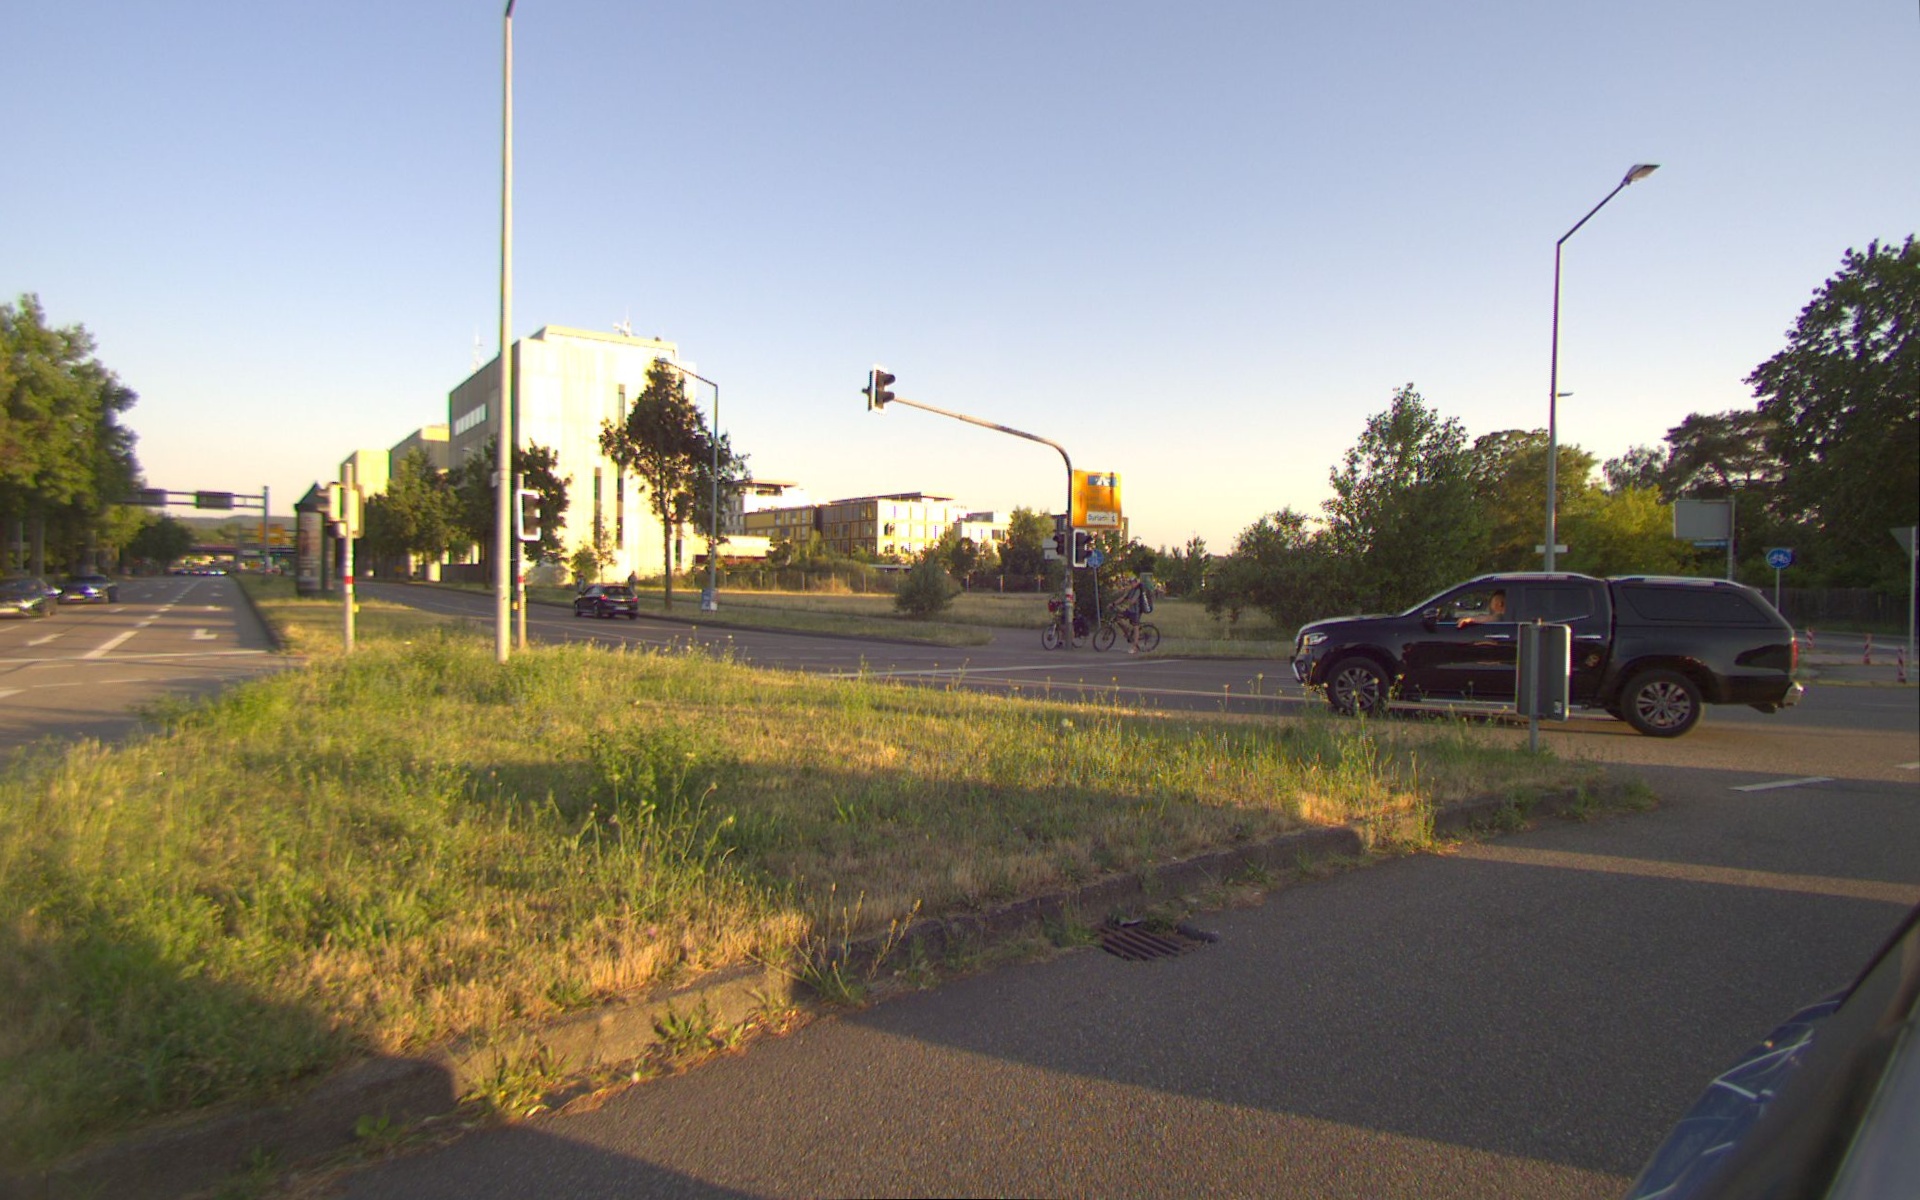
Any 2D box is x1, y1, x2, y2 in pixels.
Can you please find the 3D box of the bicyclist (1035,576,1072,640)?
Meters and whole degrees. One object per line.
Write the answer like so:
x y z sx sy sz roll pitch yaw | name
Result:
2.513 0.211 27.326 0.675 1.711 0.726 0 1 -29 | bicyclist

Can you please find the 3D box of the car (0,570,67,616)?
-32.738 -0.284 35.226 1.962 1.524 4.621 0 1 -35 | car

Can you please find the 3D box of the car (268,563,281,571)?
-137.154 -6.638 202.403 1.963 1.649 3.998 0 1 -37 | car

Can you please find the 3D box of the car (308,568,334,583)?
-60.415 -2.309 95.640 1.659 1.438 3.997 0 2 -38 | car

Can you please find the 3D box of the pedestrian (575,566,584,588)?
-27.284 -1.643 72.561 0.492 1.531 0.530 0 1 -35 | pedestrian

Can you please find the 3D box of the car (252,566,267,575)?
-124.644 -5.210 179.957 1.964 1.649 3.997 0 1 -38 | car

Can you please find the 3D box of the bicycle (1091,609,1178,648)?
4.526 0.735 26.239 2.100 0.975 0.711 1 1 -15 | bicycle

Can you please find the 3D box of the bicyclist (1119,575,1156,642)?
4.598 0.212 26.261 0.674 1.711 0.727 1 1 -13 | bicyclist

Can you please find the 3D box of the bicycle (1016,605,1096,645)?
2.599 0.662 27.344 2.065 0.975 0.711 -2 2 -27 | bicycle

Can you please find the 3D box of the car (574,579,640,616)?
-14.846 -0.130 42.444 1.717 1.396 4.129 0 2 -33 | car

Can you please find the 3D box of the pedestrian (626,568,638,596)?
-20.071 -1.109 61.888 0.555 1.705 0.520 0 1 -35 | pedestrian

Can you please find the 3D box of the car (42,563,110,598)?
-40.814 -0.922 46.820 1.963 1.524 4.771 0 1 -36 | car

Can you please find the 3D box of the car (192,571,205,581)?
-152.160 -4.782 202.125 1.964 1.803 3.995 0 0 -39 | car

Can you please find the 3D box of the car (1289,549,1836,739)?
6.888 0.406 12.290 5.252 1.836 1.982 2 0 26 | car
